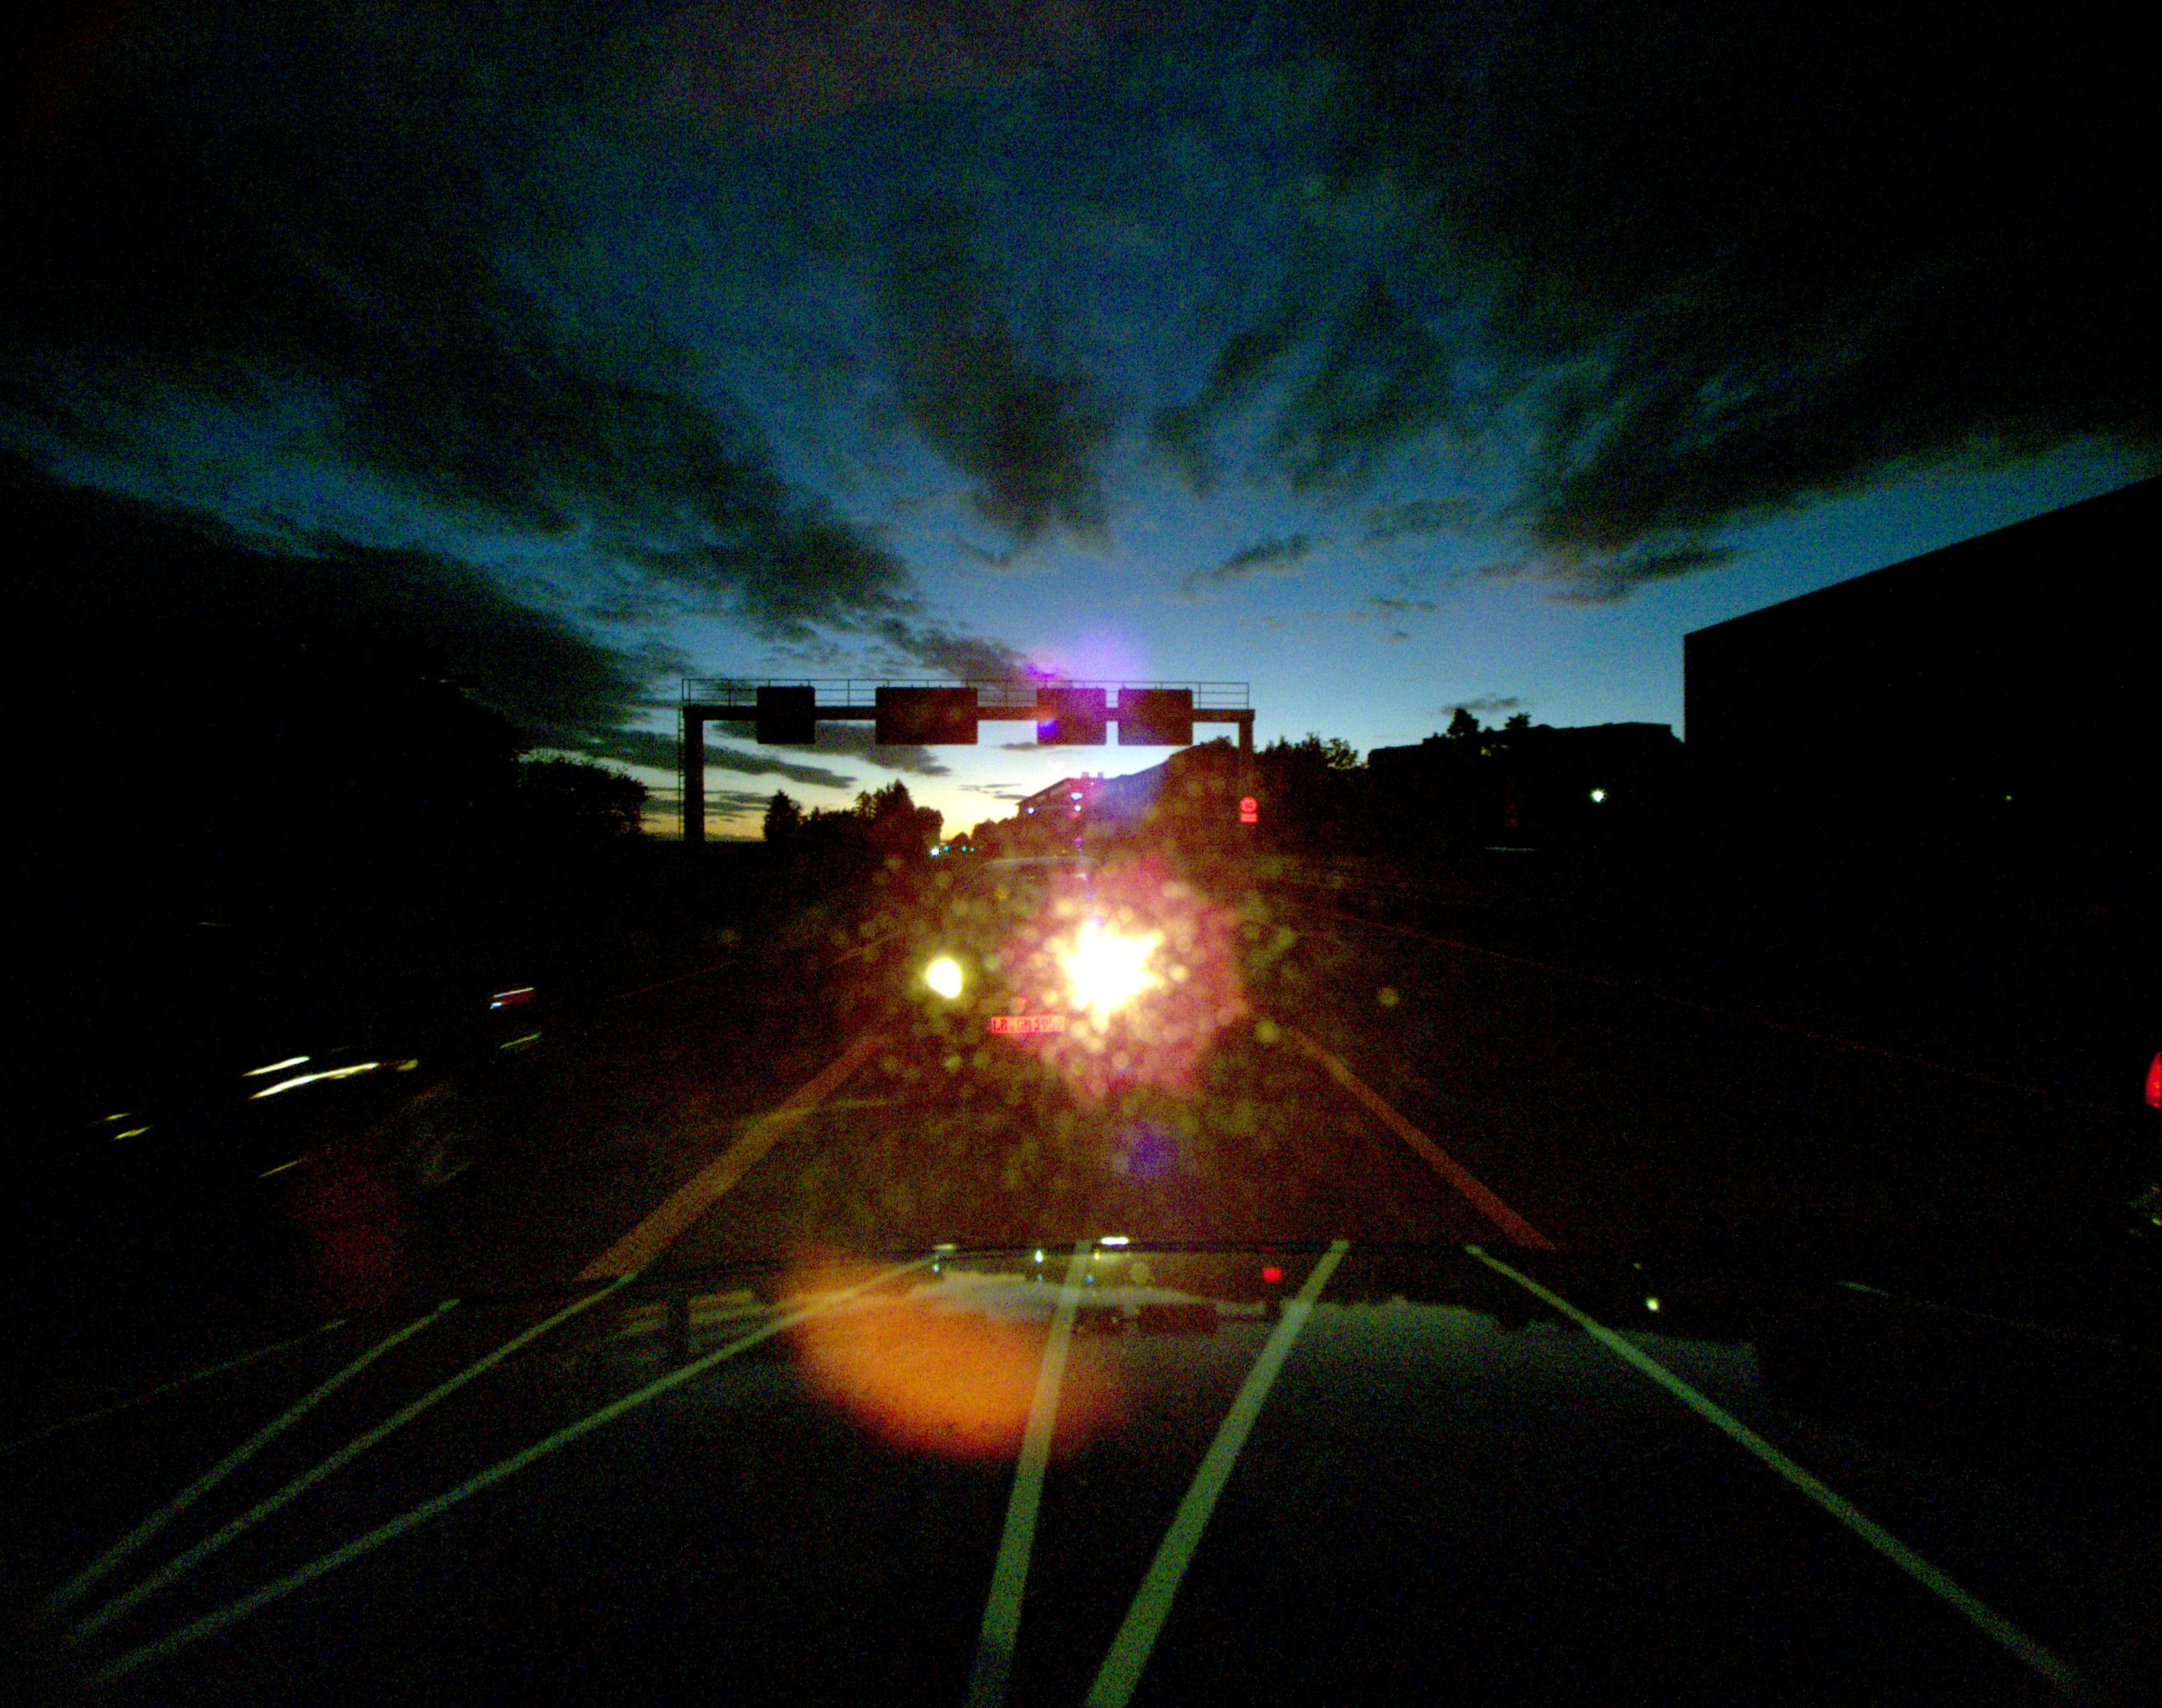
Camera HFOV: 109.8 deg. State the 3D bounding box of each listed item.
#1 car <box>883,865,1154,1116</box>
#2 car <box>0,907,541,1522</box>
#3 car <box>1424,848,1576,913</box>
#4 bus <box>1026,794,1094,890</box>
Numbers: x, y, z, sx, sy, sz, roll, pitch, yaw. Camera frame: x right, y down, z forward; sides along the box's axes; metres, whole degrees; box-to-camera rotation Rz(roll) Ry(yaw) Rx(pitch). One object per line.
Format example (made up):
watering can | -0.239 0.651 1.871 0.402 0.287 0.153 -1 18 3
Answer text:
car | -0.291 0.897 6.679 1.669 1.472 3.777 -2 0 3
car | -3.718 1.051 1.833 1.795 1.435 4.532 -2 0 -4
car | 10.378 0.595 19.208 1.761 1.435 4.111 -1 0 3
bus | -1.268 -0.543 36.659 2.614 3.768 12.269 -2 1 -4
